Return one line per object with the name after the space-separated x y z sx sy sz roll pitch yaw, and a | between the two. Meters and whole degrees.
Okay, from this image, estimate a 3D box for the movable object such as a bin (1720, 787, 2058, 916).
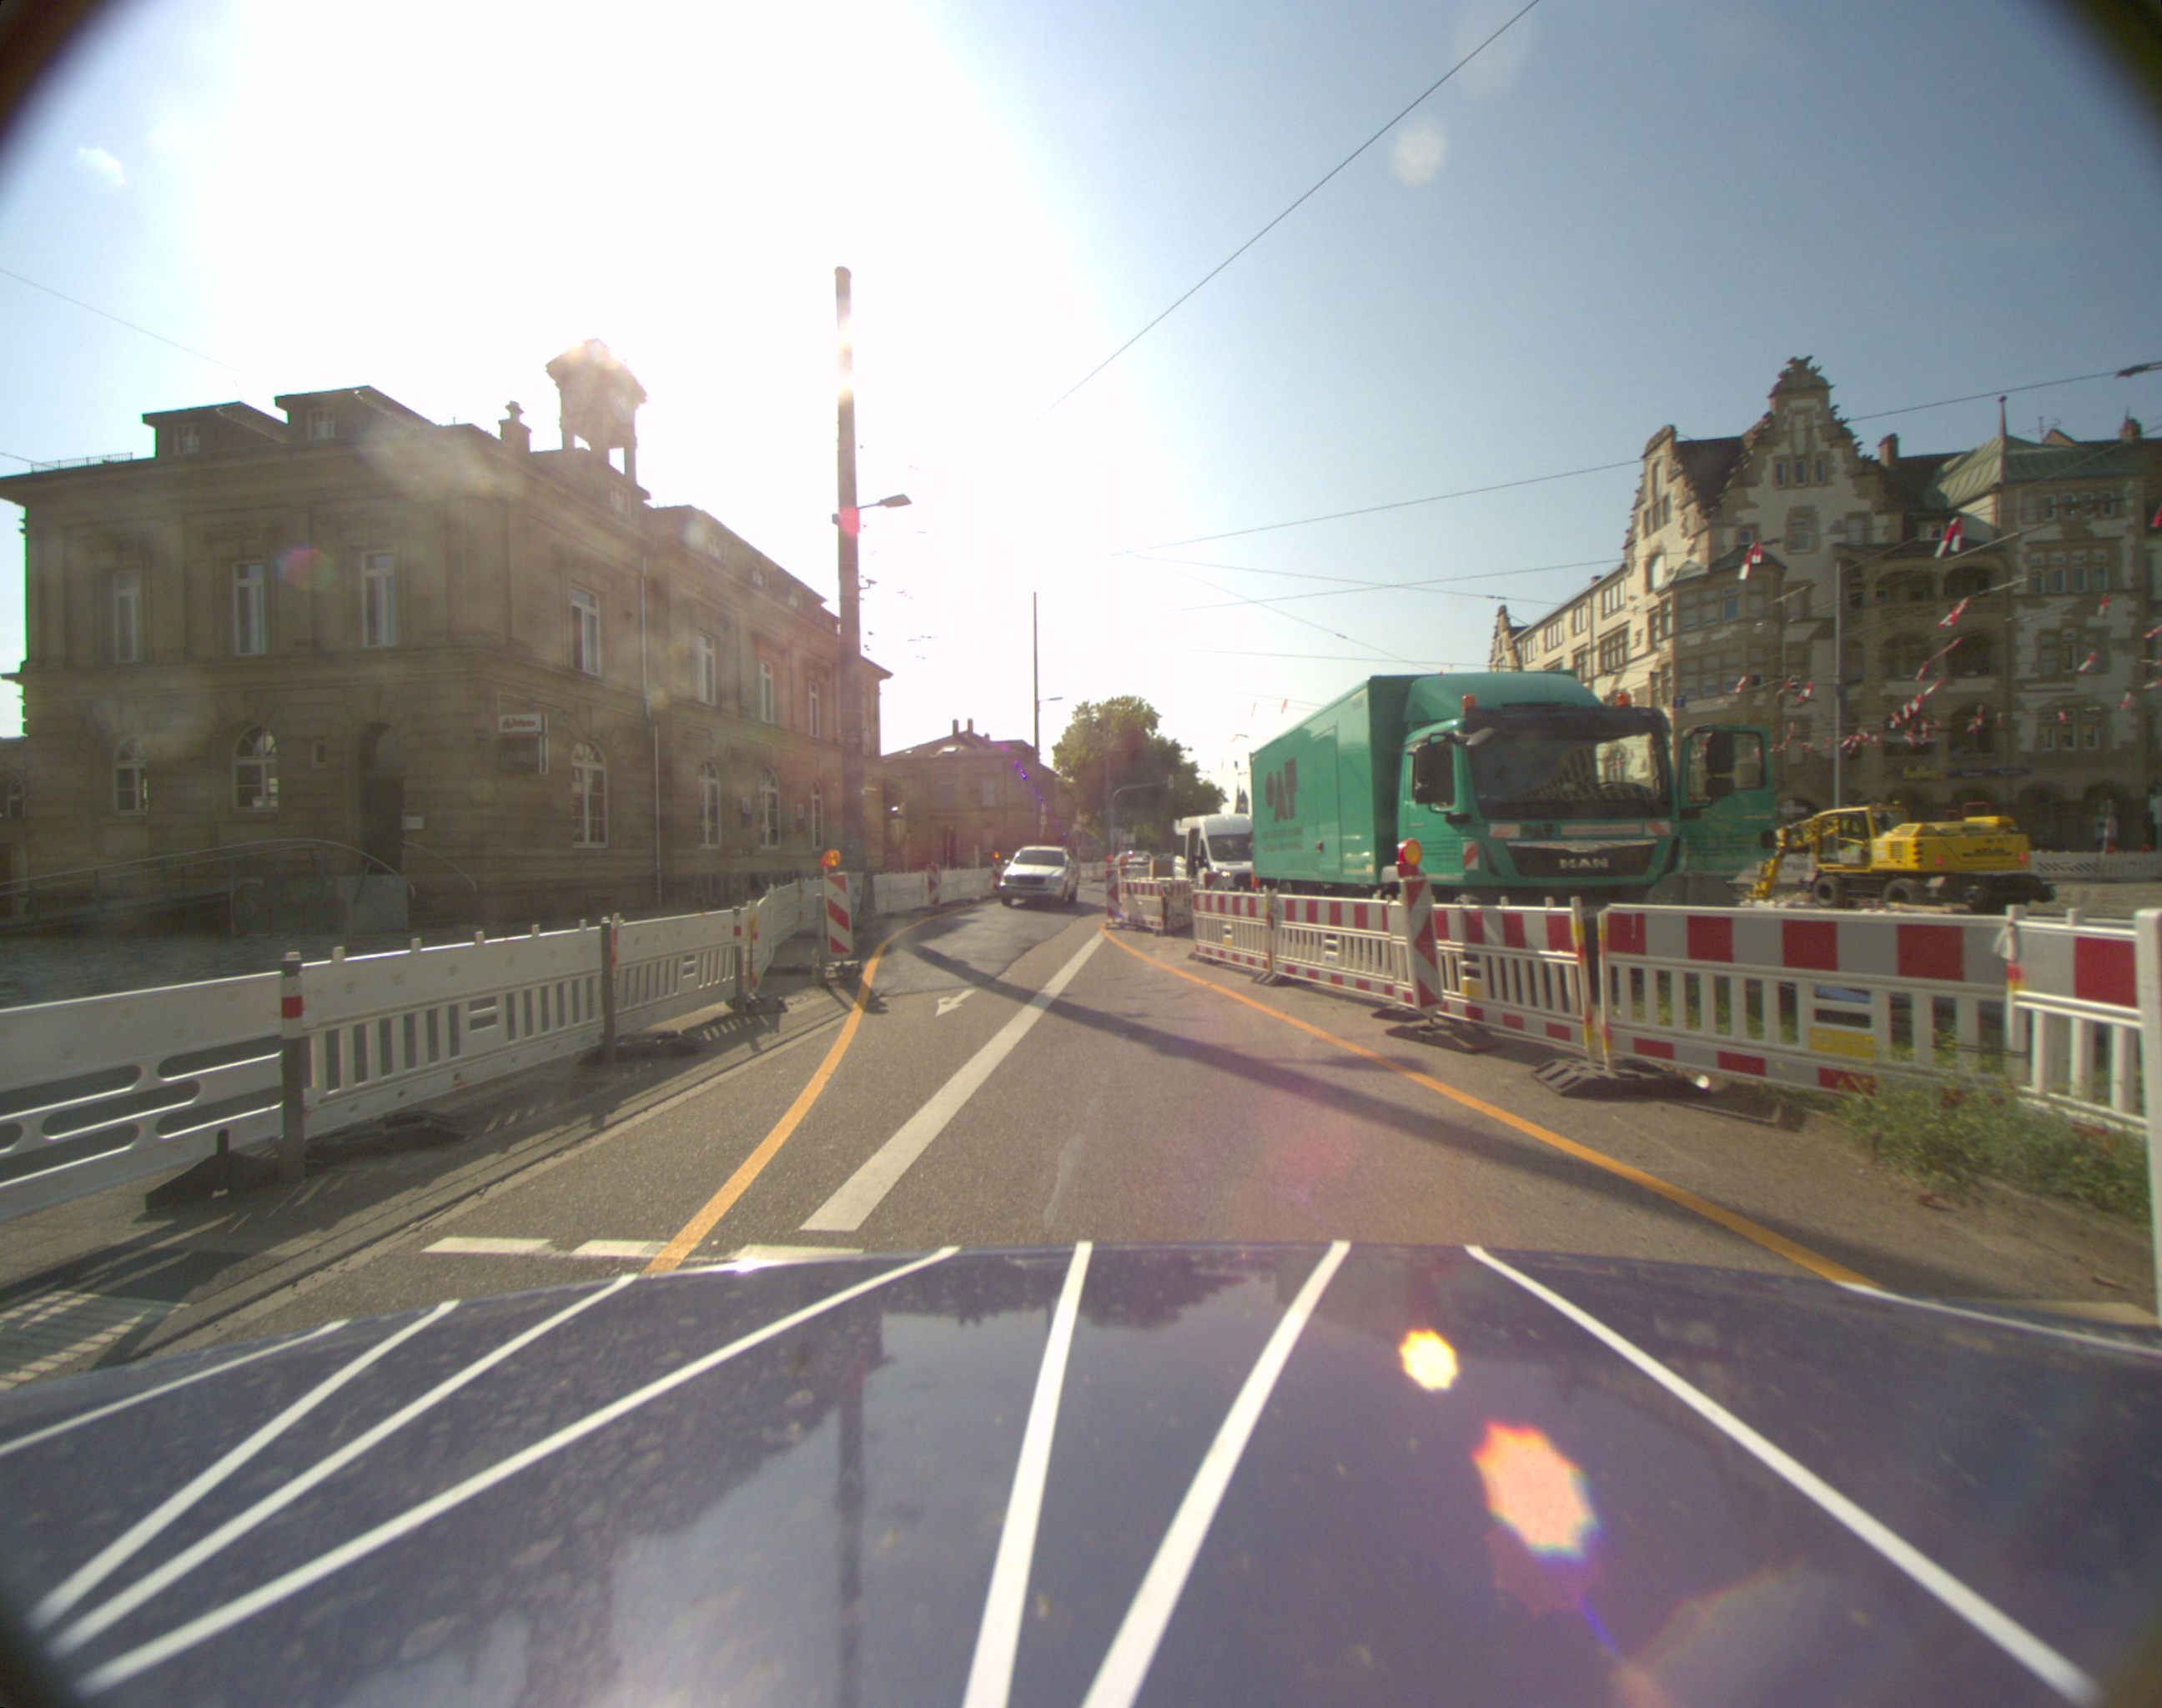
24.401 -0.105 23.864 2.851 3.311 8.351 0 1 10 | movable object such as a bin

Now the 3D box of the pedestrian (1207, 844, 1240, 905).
4.827 0.671 25.772 0.734 2.002 0.909 1 2 41 | pedestrian

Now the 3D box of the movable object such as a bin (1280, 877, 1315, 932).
4.704 1.069 16.556 0.644 1.086 1.482 0 1 13 | movable object such as a bin

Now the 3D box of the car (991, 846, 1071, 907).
-1.409 0.597 23.523 1.998 1.686 5.225 0 1 2 | car

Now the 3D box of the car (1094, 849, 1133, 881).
1.950 0.577 43.720 1.998 1.686 5.227 -1 0 5 | car

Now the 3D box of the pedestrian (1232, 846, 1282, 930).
3.666 0.683 15.850 0.705 1.684 0.767 0 2 45 | pedestrian

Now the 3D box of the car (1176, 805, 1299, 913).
4.278 0.093 21.768 2.231 2.713 5.168 -1 1 -3 | car

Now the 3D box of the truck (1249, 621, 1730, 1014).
4.741 -0.356 11.229 2.681 3.657 8.213 -1 0 0 | truck

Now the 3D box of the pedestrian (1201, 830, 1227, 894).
4.277 0.238 24.401 0.735 2.002 0.908 0 1 14 | pedestrian
